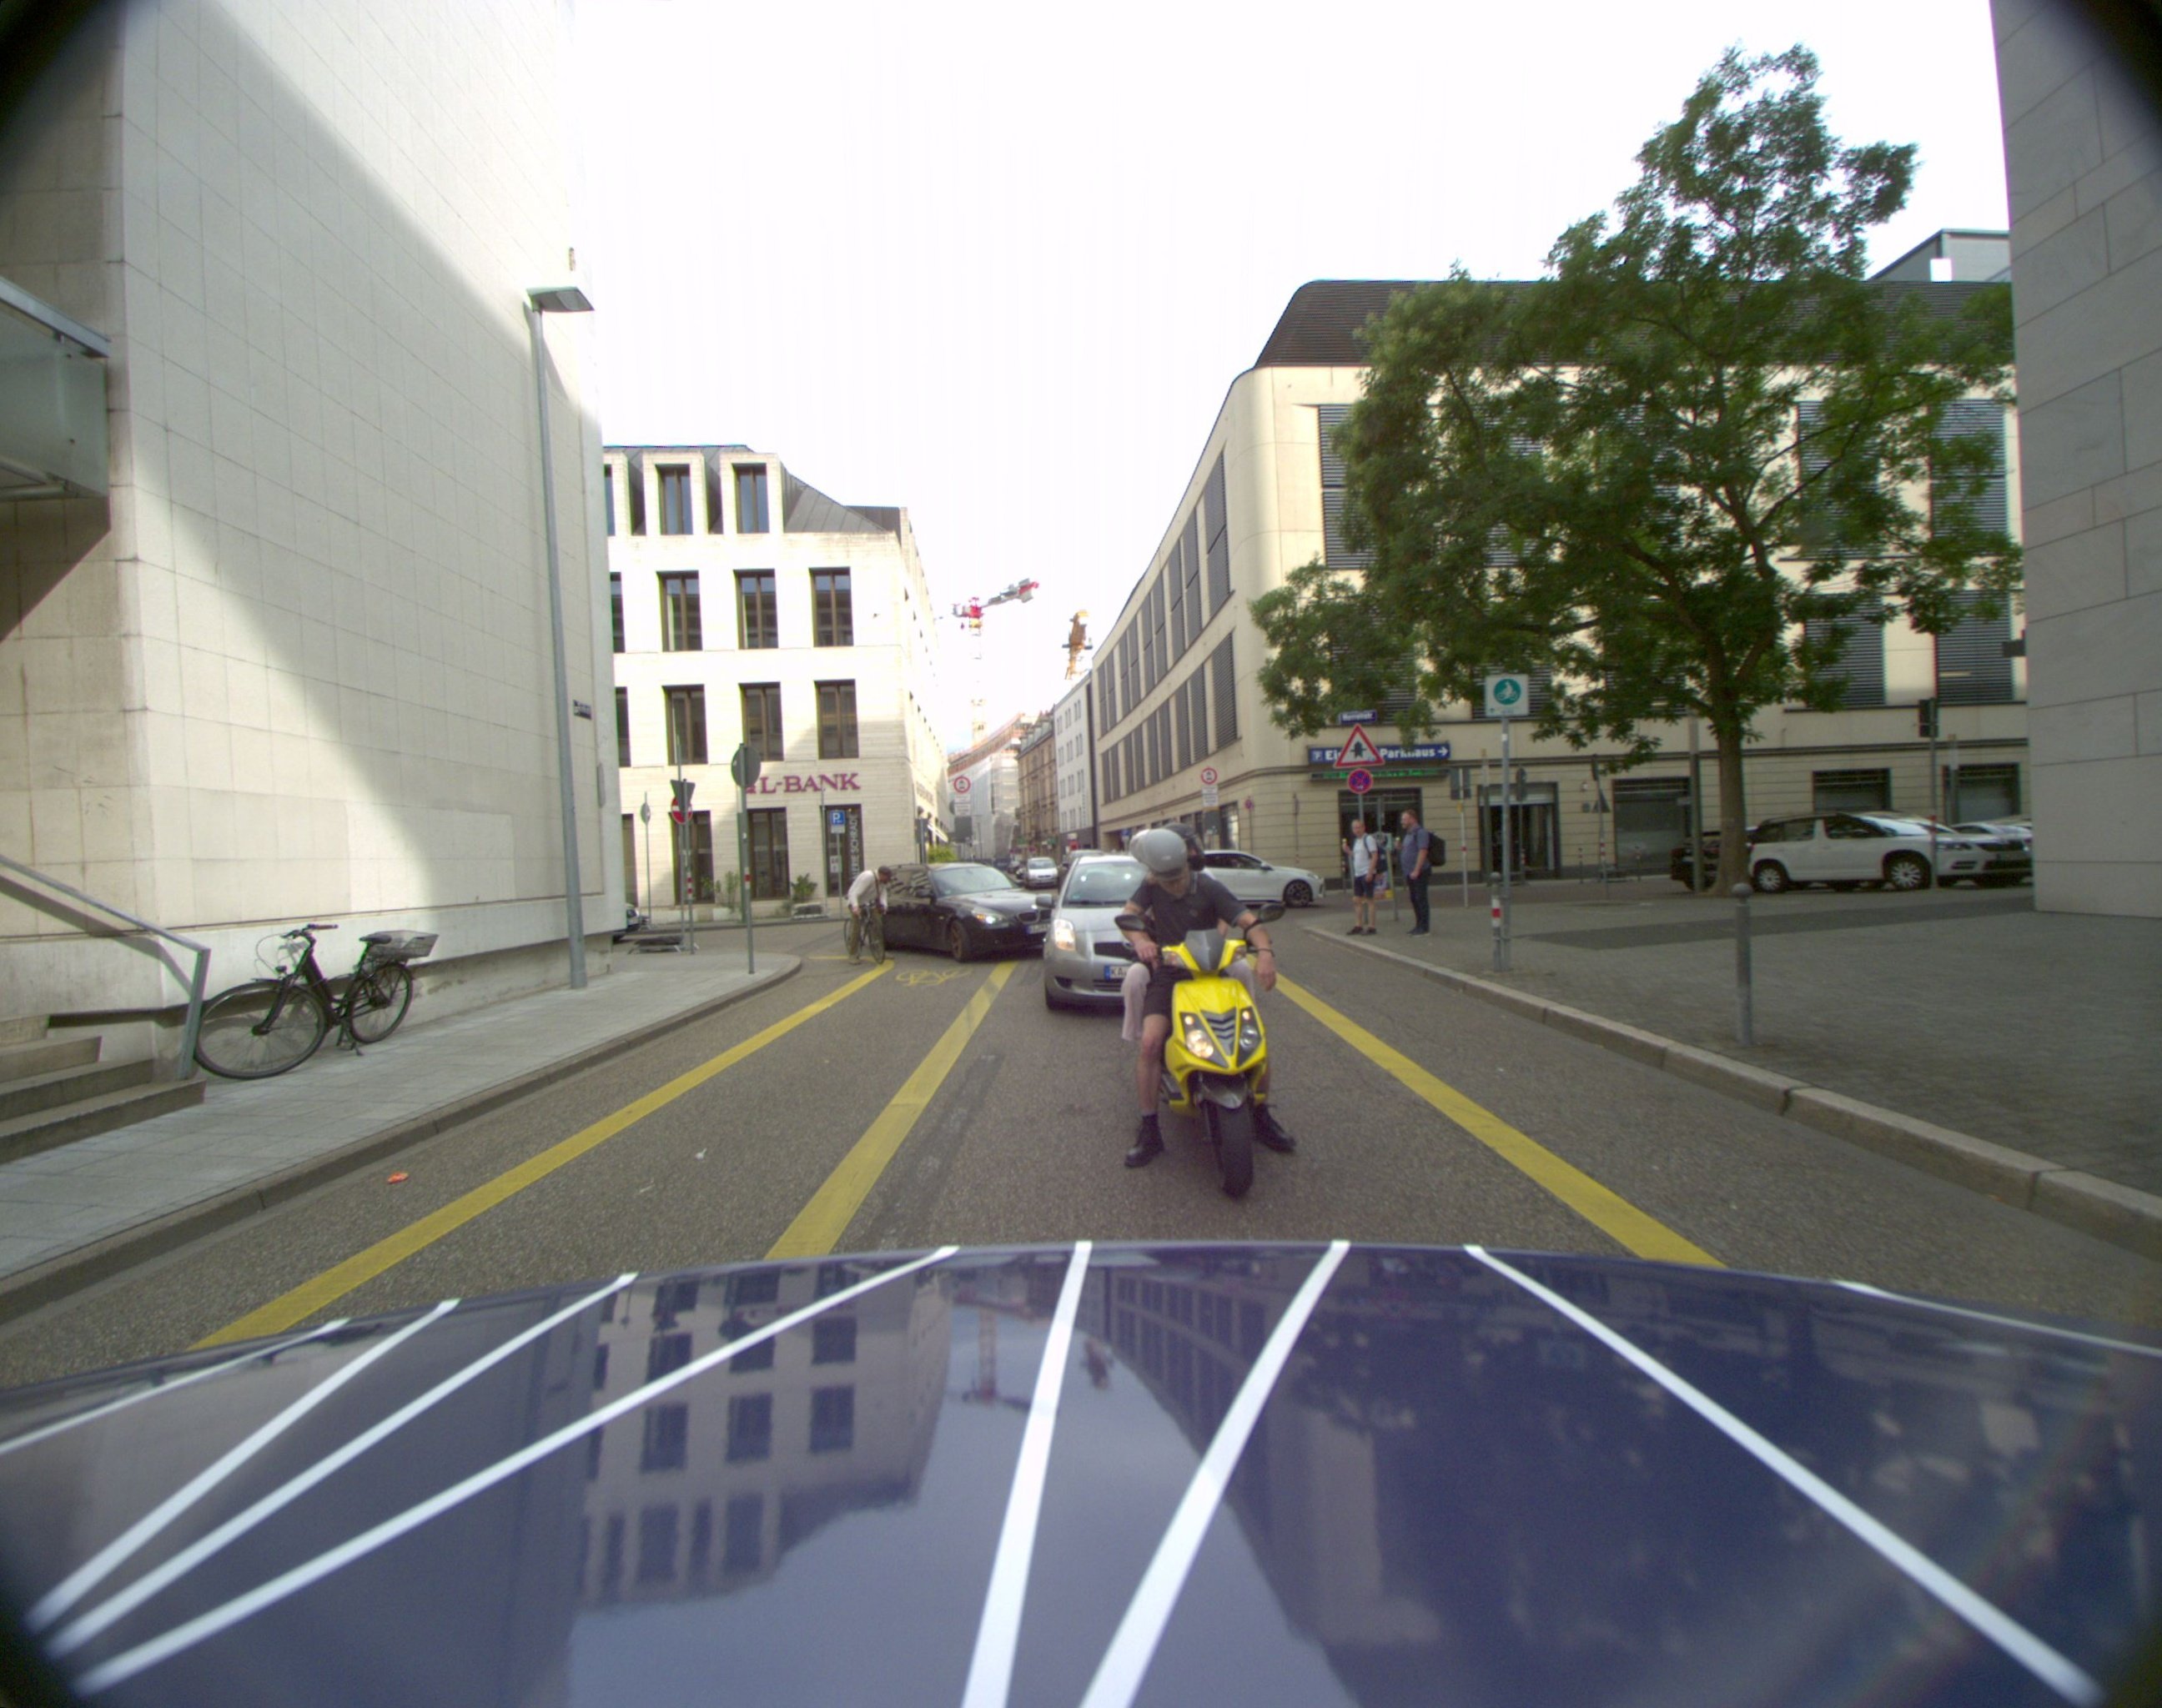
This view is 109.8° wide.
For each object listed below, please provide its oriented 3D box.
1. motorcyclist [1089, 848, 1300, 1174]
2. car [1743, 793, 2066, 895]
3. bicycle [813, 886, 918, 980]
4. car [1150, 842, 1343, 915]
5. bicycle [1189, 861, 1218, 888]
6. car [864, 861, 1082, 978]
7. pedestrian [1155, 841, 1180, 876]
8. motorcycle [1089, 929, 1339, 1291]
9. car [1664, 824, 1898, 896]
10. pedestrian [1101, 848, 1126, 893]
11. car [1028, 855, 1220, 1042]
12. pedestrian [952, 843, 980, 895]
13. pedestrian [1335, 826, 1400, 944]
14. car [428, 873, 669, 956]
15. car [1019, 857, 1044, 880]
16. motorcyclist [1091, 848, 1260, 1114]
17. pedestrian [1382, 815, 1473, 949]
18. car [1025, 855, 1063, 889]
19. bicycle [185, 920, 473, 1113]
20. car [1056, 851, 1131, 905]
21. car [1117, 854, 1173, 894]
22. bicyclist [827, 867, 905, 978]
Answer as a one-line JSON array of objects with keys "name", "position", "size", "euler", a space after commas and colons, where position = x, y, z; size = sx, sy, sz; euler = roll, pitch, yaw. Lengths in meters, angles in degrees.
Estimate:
[{"name": "motorcyclist", "position": [0.515, 0.700, 3.913], "size": [0.924, 1.445, 1.065], "euler": [-1, 0, 1]}, {"name": "car", "position": [15.901, -0.079, 15.054], "size": [1.899, 1.682, 3.964], "euler": [-2, -3, -3]}, {"name": "bicycle", "position": [-3.480, 1.156, 12.006], "size": [0.872, 1.188, 2.857], "euler": [-3, 1, -30]}, {"name": "car", "position": [4.016, 0.565, 18.942], "size": [4.364, 1.572, 1.814], "euler": [-2, 1, -2]}, {"name": "bicycle", "position": [5.342, 0.877, 33.278], "size": [0.692, 1.038, 2.543], "euler": [-2, 1, -4]}, {"name": "car", "position": [-1.866, 0.929, 12.190], "size": [1.720, 1.482, 3.755], "euler": [-3, 1, -38]}, {"name": "pedestrian", "position": [4.567, 0.244, 40.227], "size": [0.893, 1.755, 1.060], "euler": [-6, 1, -9]}, {"name": "motorcycle", "position": [0.521, 1.074, 3.933], "size": [0.929, 1.158, 2.127], "euler": [-1, 0, 1]}, {"name": "car", "position": [17.733, 0.129, 19.384], "size": [4.364, 1.592, 1.814], "euler": [-2, 1, -2]}, {"name": "pedestrian", "position": [1.350, 0.684, 31.929], "size": [0.861, 1.820, 0.773], "euler": [-2, 1, -7]}, {"name": "car", "position": [0.424, 0.810, 8.358], "size": [1.562, 1.482, 3.784], "euler": [-3, 1, 2]}, {"name": "pedestrian", "position": [-4.110, 0.522, 27.182], "size": [0.774, 1.820, 0.860], "euler": [-3, 1, -20]}, {"name": "pedestrian", "position": [4.428, 0.471, 11.777], "size": [0.644, 1.755, 0.653], "euler": [-2, 1, -11]}, {"name": "car", "position": [-12.218, 1.355, 17.649], "size": [4.193, 1.581, 1.814], "euler": [-2, 1, -2]}, {"name": "car", "position": [-3.499, 0.993, 53.533], "size": [1.589, 1.477, 3.997], "euler": [-2, 1, -6]}, {"name": "motorcyclist", "position": [0.523, 0.697, 4.524], "size": [0.903, 1.445, 0.742], "euler": [-1, 0, 1]}, {"name": "pedestrian", "position": [4.980, 0.387, 10.945], "size": [0.745, 1.804, 0.756], "euler": [-6, 1, -11]}, {"name": "car", "position": [-1.958, 0.888, 39.190], "size": [1.563, 1.547, 4.100], "euler": [-3, 1, -7]}, {"name": "bicycle", "position": [-6.003, 1.217, 6.244], "size": [0.590, 1.160, 1.814], "euler": [-2, 1, -4]}, {"name": "car", "position": [0.308, 0.691, 24.367], "size": [1.710, 1.482, 4.100], "euler": [-3, 1, -8]}, {"name": "car", "position": [2.705, 0.806, 33.122], "size": [1.563, 1.547, 4.100], "euler": [-3, 1, -7]}, {"name": "bicyclist", "position": [-3.321, 1.018, 11.709], "size": [0.894, 1.585, 0.875], "euler": [-3, 1, -30]}]
